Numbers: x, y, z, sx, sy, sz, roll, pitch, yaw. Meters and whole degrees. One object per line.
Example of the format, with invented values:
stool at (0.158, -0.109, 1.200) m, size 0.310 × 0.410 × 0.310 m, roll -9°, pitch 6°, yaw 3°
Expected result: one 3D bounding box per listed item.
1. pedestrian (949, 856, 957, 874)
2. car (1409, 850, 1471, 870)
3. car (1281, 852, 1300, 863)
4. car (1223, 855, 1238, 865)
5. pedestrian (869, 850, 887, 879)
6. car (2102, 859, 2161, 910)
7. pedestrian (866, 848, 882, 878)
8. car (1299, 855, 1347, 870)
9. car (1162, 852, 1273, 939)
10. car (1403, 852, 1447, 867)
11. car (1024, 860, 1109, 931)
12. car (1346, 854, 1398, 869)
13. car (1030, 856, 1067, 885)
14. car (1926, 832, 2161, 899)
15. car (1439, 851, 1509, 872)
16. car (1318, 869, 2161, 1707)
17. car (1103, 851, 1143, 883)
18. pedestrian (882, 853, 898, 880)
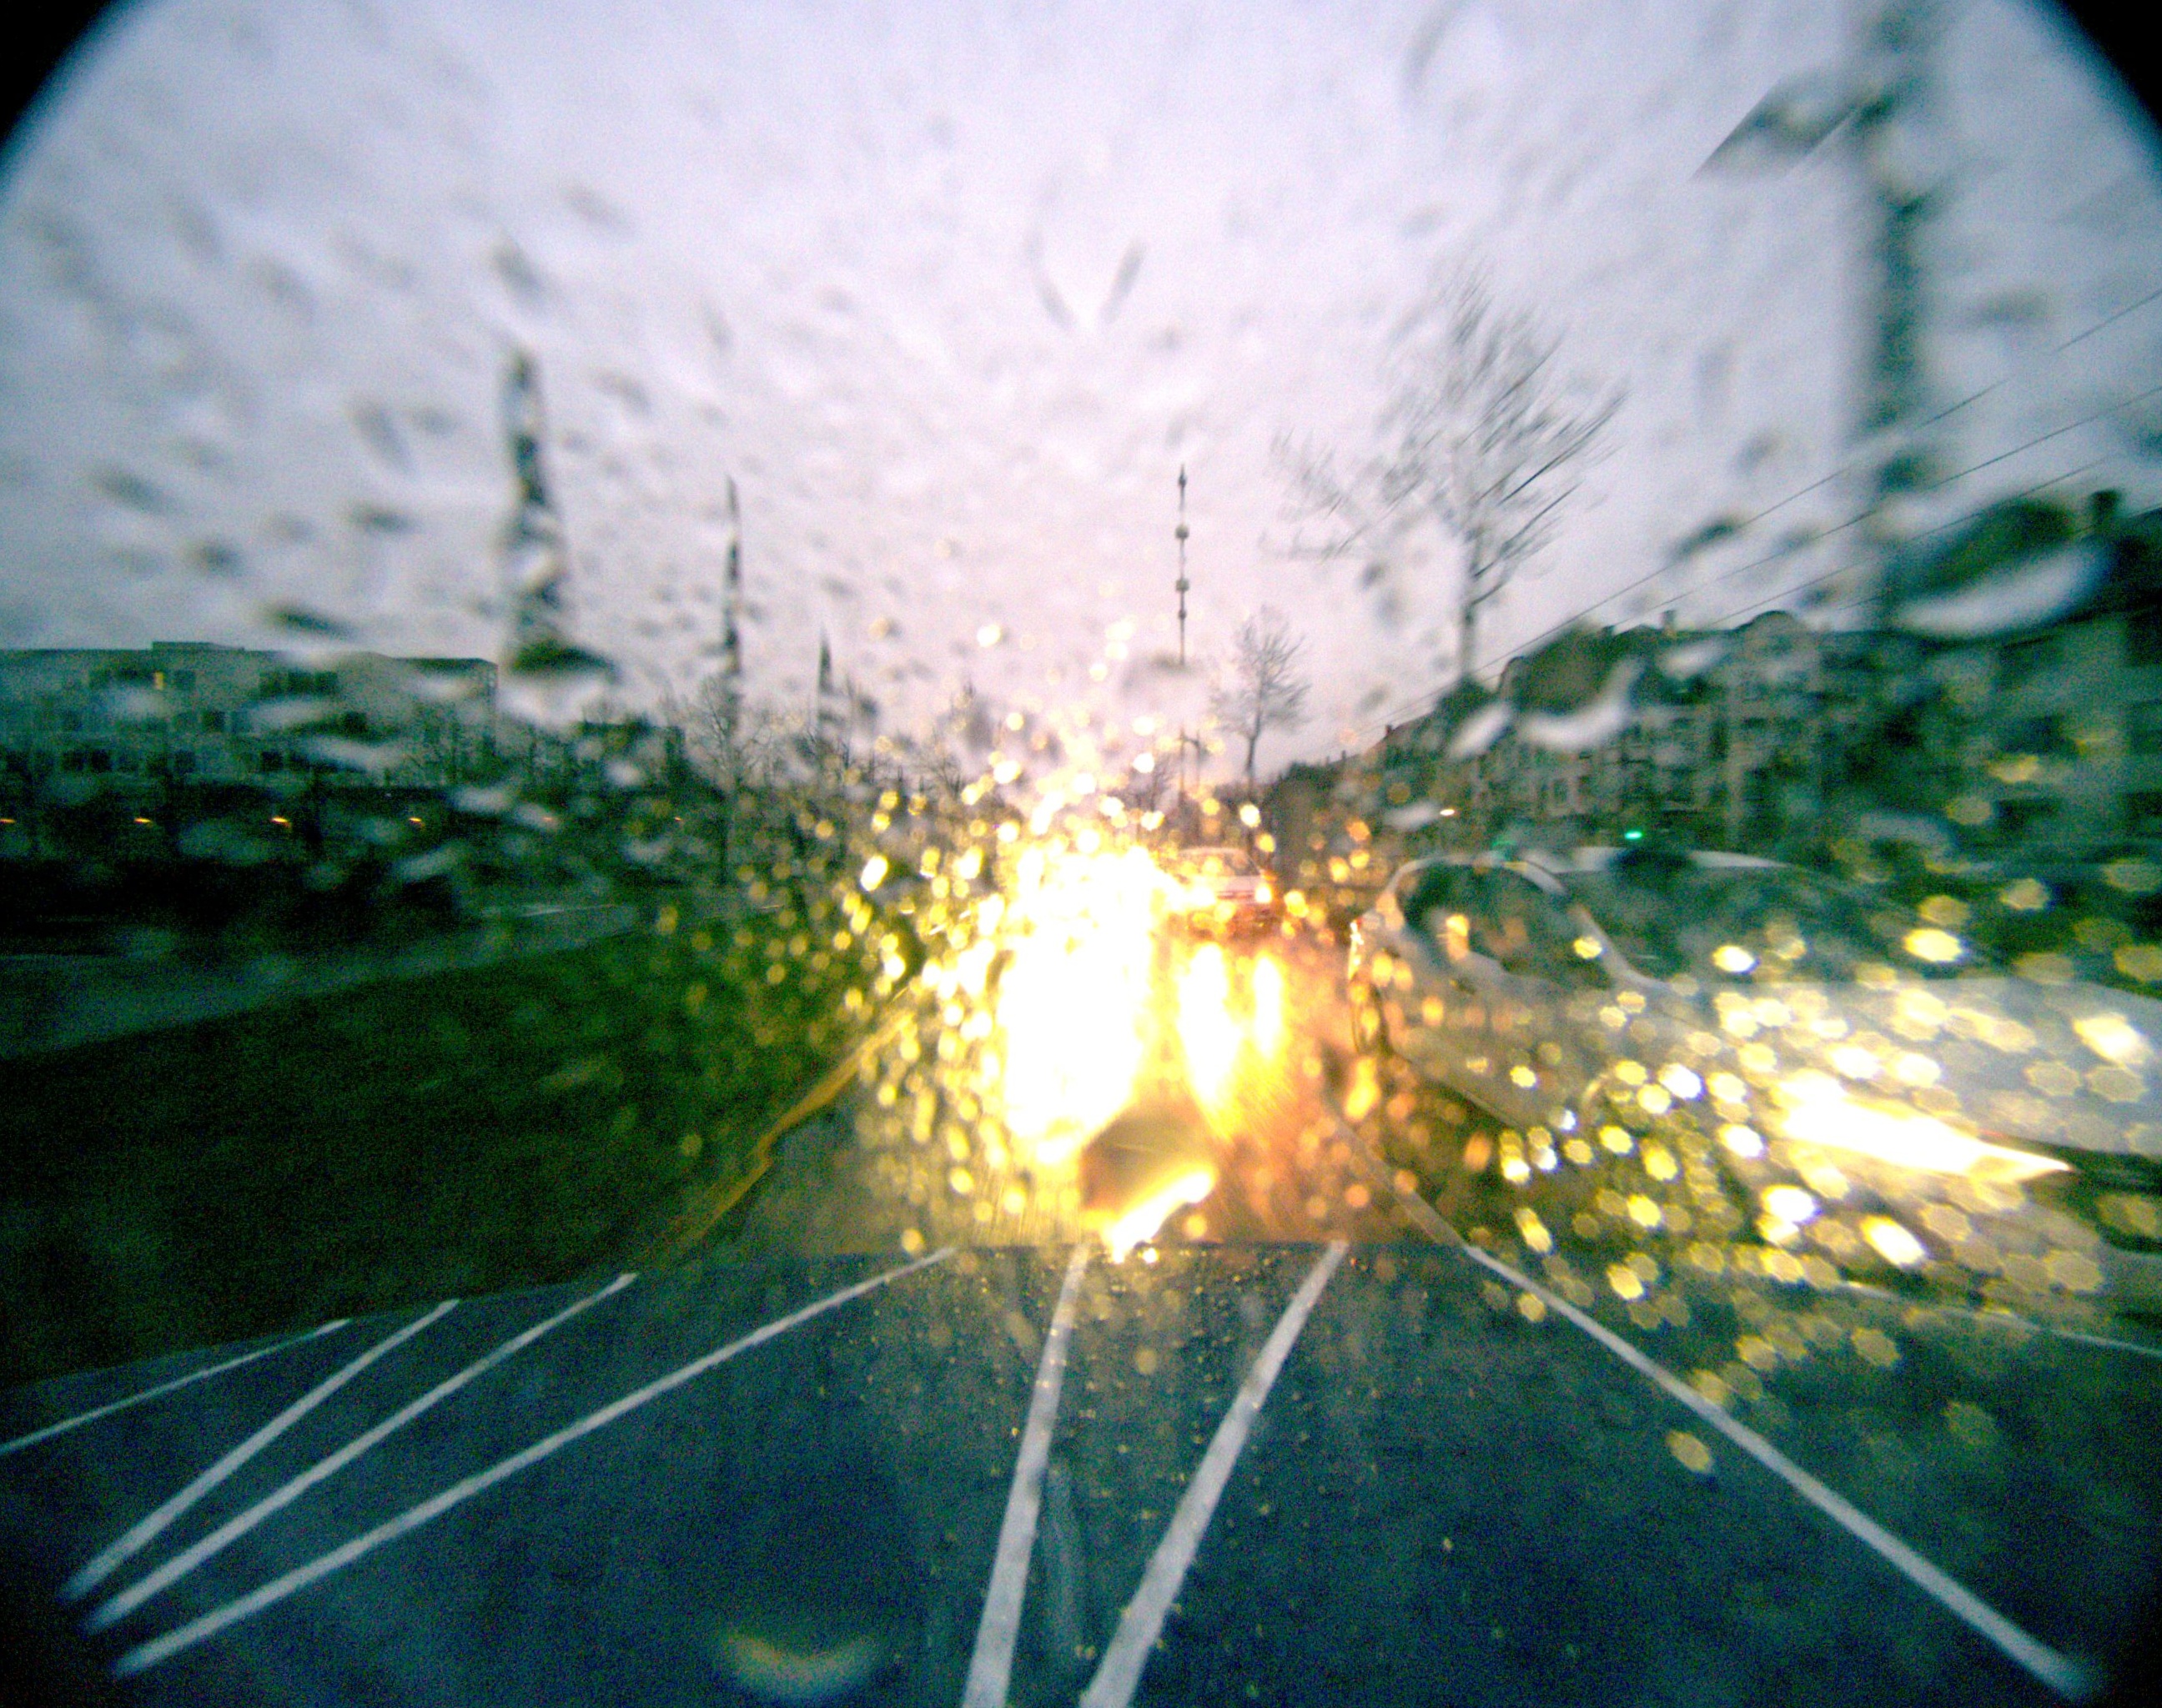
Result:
pedestrian at (-11.884, 0.994, 70.609) m, size 0.669 × 1.646 × 0.994 m, roll 0°, pitch 1°, yaw -6°
car at (26.982, 0.468, 57.147) m, size 4.034 × 1.223 × 1.350 m, roll -4°, pitch 1°, yaw 35°
car at (27.296, 0.435, 99.114) m, size 1.468 × 1.332 × 3.910 m, roll -2°, pitch 0°, yaw 1°
car at (22.622, 0.922, 115.169) m, size 1.549 × 1.495 × 3.783 m, roll -2°, pitch 0°, yaw 0°
pedestrian at (-11.774, 0.613, 44.074) m, size 0.673 × 1.616 × 0.615 m, roll -2°, pitch 1°, yaw 14°
car at (27.478, 0.689, 17.983) m, size 3.562 × 1.134 × 1.740 m, roll -2°, pitch 0°, yaw 31°
pedestrian at (-12.558, 0.532, 46.120) m, size 0.673 × 1.767 × 0.615 m, roll -2°, pitch 1°, yaw 13°
car at (26.045, 0.892, 81.860) m, size 4.651 × 1.423 × 1.697 m, roll -2°, pitch 1°, yaw 35°
car at (2.690, 0.742, 15.750) m, size 1.638 × 1.510 × 3.907 m, roll -2°, pitch 0°, yaw 1°
car at (27.259, 0.440, 60.242) m, size 2.912 × 0.984 × 1.798 m, roll -4°, pitch 1°, yaw 34°
car at (-0.333, 0.855, 17.241) m, size 1.669 × 1.325 × 3.786 m, roll -2°, pitch 0°, yaw -1°
car at (27.839, 0.731, 72.734) m, size 4.254 × 1.250 × 1.837 m, roll -2°, pitch 1°, yaw 39°
car at (-1.613, 0.792, 38.649) m, size 1.737 × 1.311 × 3.803 m, roll -2°, pitch 0°, yaw -1°
car at (27.796, 0.342, 21.633) m, size 4.646 × 1.713 × 1.836 m, roll -2°, pitch 0°, yaw 33°
car at (27.718, 0.518, 53.645) m, size 4.095 × 1.154 × 1.715 m, roll -4°, pitch 1°, yaw 38°
car at (2.634, 0.884, 3.487) m, size 1.693 × 1.466 × 4.000 m, roll -2°, pitch 0°, yaw -2°
car at (2.102, 0.649, 39.180) m, size 1.905 × 1.475 × 3.655 m, roll -2°, pitch 0°, yaw 2°
pedestrian at (-11.547, 0.780, 46.012) m, size 0.673 × 1.603 × 0.615 m, roll -2°, pitch 1°, yaw 13°
